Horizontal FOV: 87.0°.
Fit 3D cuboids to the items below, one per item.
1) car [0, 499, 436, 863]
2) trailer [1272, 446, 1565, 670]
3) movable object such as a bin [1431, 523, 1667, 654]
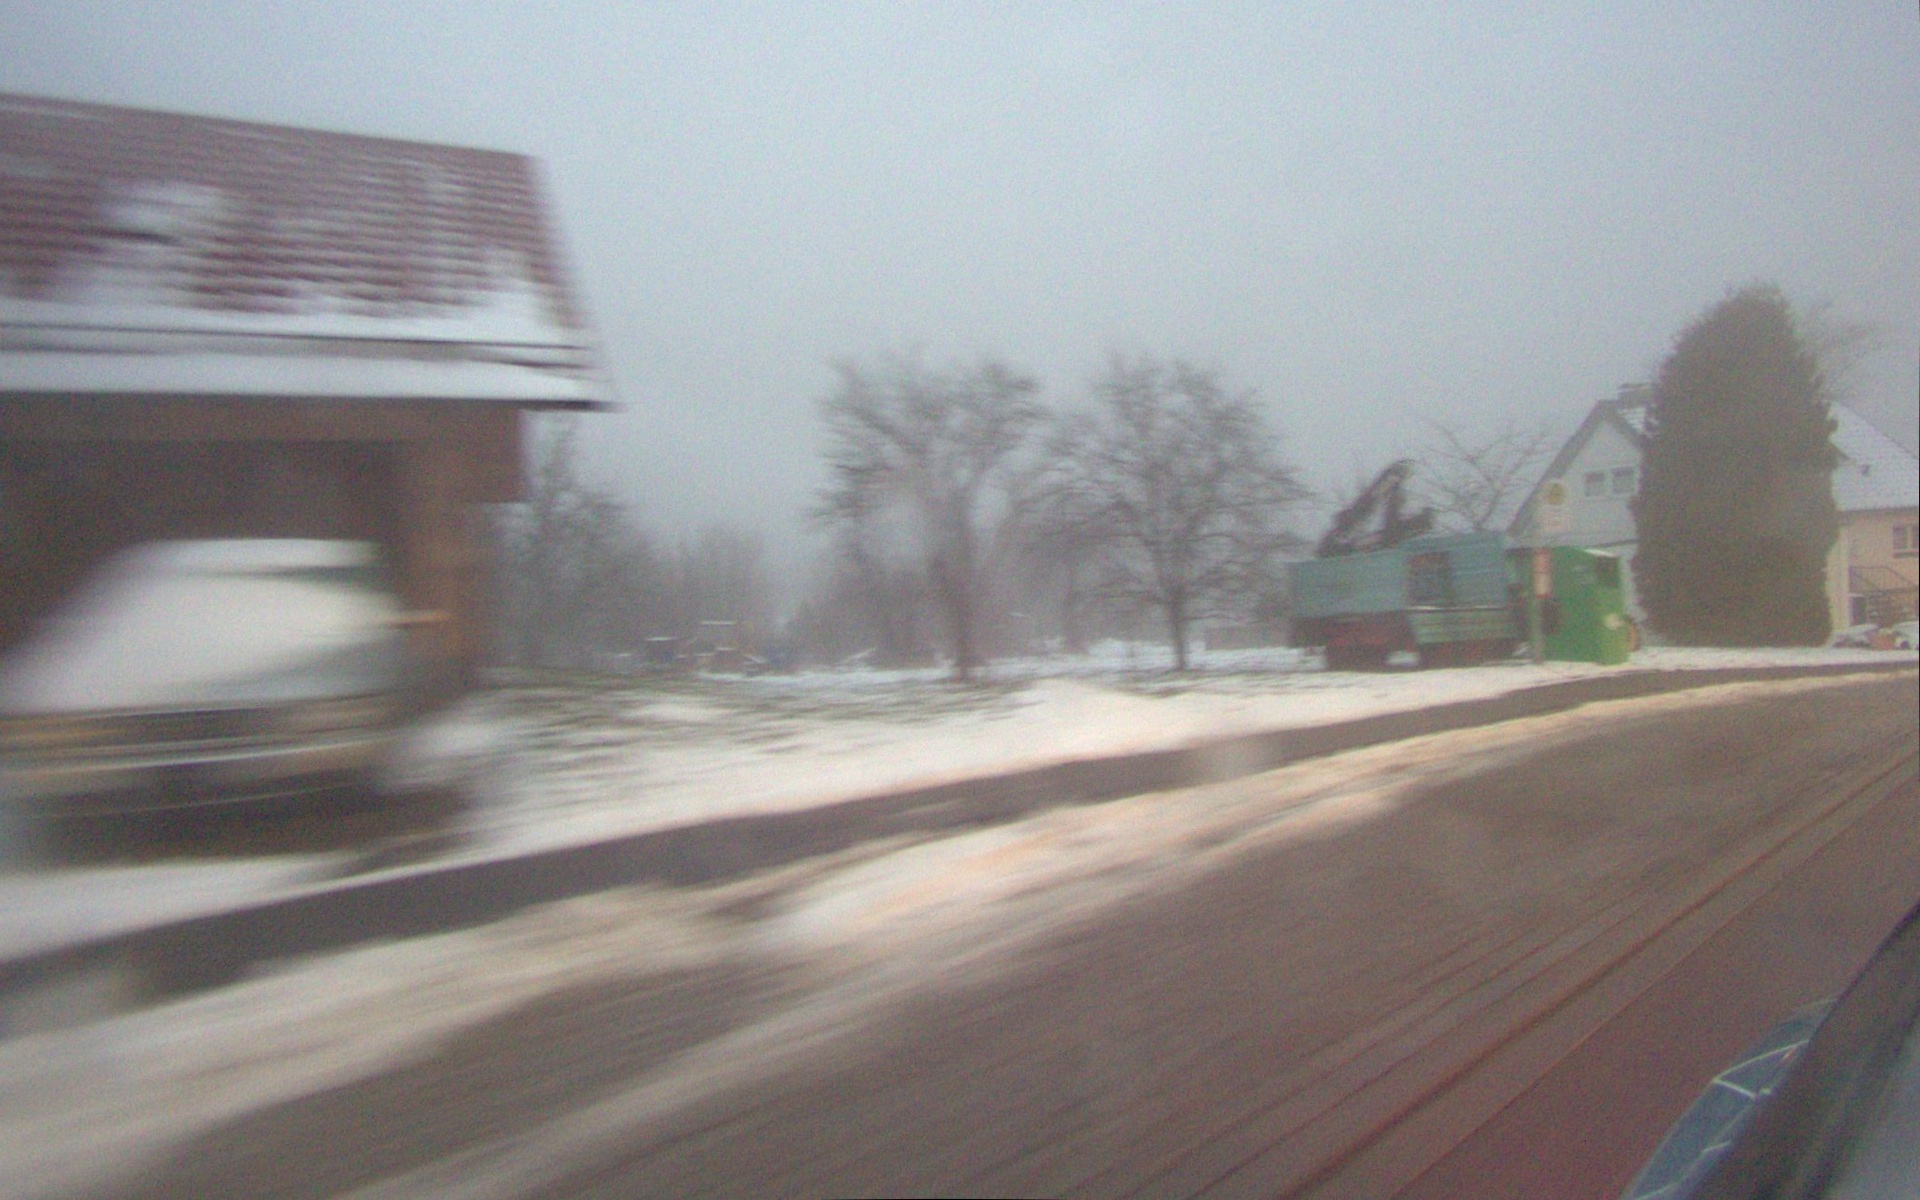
[{"bbox_3d":[-4.578,0.254,6.526,1.959,1.578,4.265,0,2,-25],"label":"car"},{"bbox_3d":[8.615,-0.754,18.911,4.967,3.605,2.884,-2,1,-35],"label":"trailer"},{"bbox_3d":[12.432,-0.285,21.352,4.425,2.499,2.398,-1,1,-29],"label":"movable object such as a bin"}]
